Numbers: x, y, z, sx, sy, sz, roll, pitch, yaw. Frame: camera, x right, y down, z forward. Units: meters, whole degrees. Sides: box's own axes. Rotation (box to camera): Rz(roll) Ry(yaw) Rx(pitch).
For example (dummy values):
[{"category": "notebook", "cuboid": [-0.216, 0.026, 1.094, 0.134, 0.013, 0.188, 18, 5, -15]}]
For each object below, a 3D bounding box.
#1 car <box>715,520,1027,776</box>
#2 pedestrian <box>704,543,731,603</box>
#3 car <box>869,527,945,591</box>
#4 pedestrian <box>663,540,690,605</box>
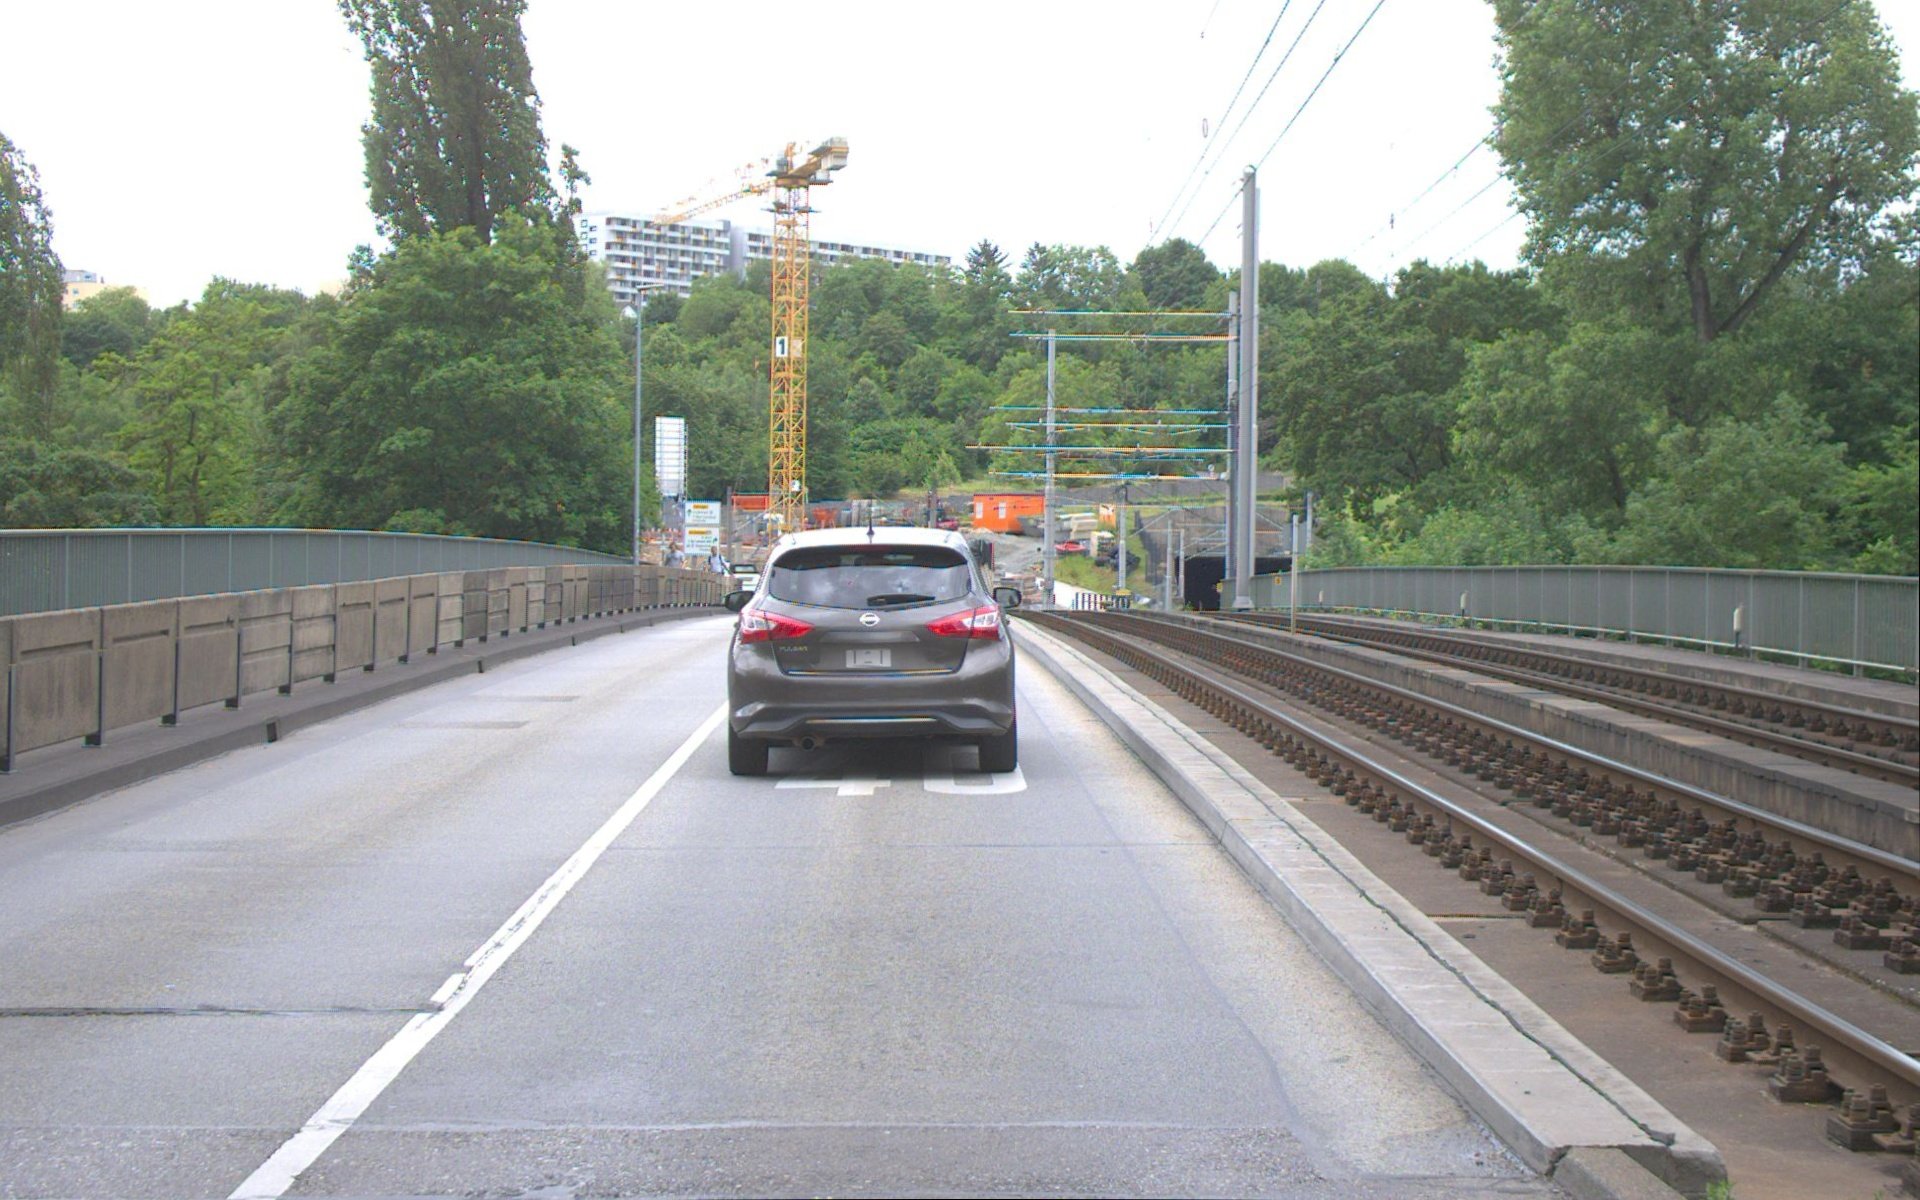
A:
[{"category": "car", "cuboid": [-0.665, 0.271, 22.298, 1.829, 1.505, 4.001, 0, 0, -4]}, {"category": "pedestrian", "cuboid": [-6.809, -0.760, 96.626, 0.721, 1.695, 0.723, 0, 0, -1]}, {"category": "car", "cuboid": [-1.431, -1.116, 91.538, 1.680, 1.601, 4.310, 2, 1, -5]}, {"category": "pedestrian", "cuboid": [-8.035, -0.783, 97.500, 0.721, 1.833, 0.723, 0, 0, -1]}]
